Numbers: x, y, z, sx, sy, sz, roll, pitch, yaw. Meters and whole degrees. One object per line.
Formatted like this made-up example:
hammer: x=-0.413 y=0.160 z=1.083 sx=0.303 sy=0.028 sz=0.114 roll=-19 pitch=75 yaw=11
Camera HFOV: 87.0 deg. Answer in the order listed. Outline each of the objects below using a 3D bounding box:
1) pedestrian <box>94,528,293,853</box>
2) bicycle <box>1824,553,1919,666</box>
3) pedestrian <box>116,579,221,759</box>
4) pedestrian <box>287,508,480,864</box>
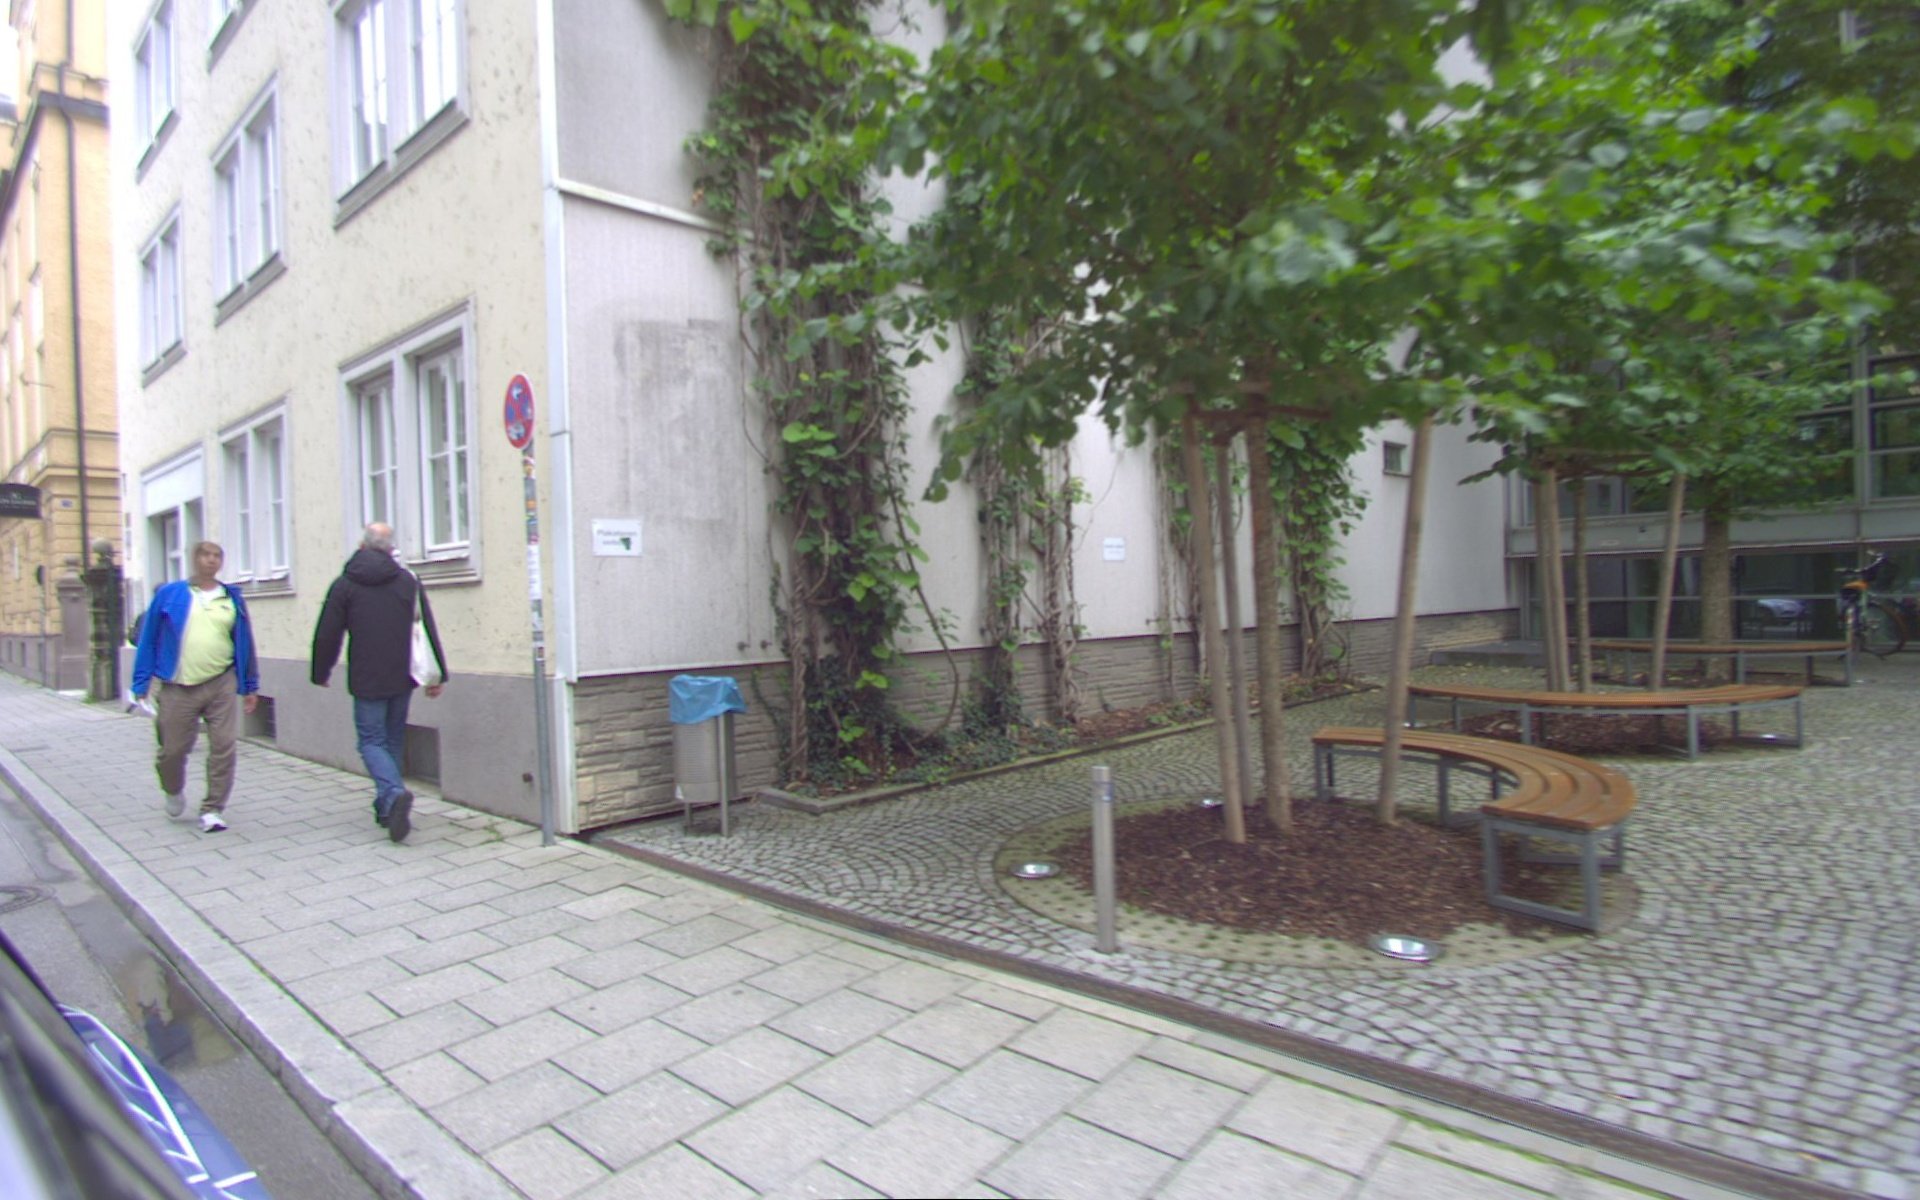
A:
pedestrian: x=-4.899 y=0.516 z=6.456 sx=1.077 sy=1.868 sz=0.749 roll=-2 pitch=1 yaw=42
bicycle: x=10.596 y=0.084 z=11.702 sx=1.755 sy=1.206 sz=0.691 roll=-3 pitch=1 yaw=-43
pedestrian: x=-7.843 y=0.653 z=10.029 sx=0.723 sy=1.689 sz=0.640 roll=-2 pitch=1 yaw=41
pedestrian: x=-3.450 y=0.444 z=6.078 sx=0.856 sy=1.895 sz=1.138 roll=-3 pitch=1 yaw=-31
